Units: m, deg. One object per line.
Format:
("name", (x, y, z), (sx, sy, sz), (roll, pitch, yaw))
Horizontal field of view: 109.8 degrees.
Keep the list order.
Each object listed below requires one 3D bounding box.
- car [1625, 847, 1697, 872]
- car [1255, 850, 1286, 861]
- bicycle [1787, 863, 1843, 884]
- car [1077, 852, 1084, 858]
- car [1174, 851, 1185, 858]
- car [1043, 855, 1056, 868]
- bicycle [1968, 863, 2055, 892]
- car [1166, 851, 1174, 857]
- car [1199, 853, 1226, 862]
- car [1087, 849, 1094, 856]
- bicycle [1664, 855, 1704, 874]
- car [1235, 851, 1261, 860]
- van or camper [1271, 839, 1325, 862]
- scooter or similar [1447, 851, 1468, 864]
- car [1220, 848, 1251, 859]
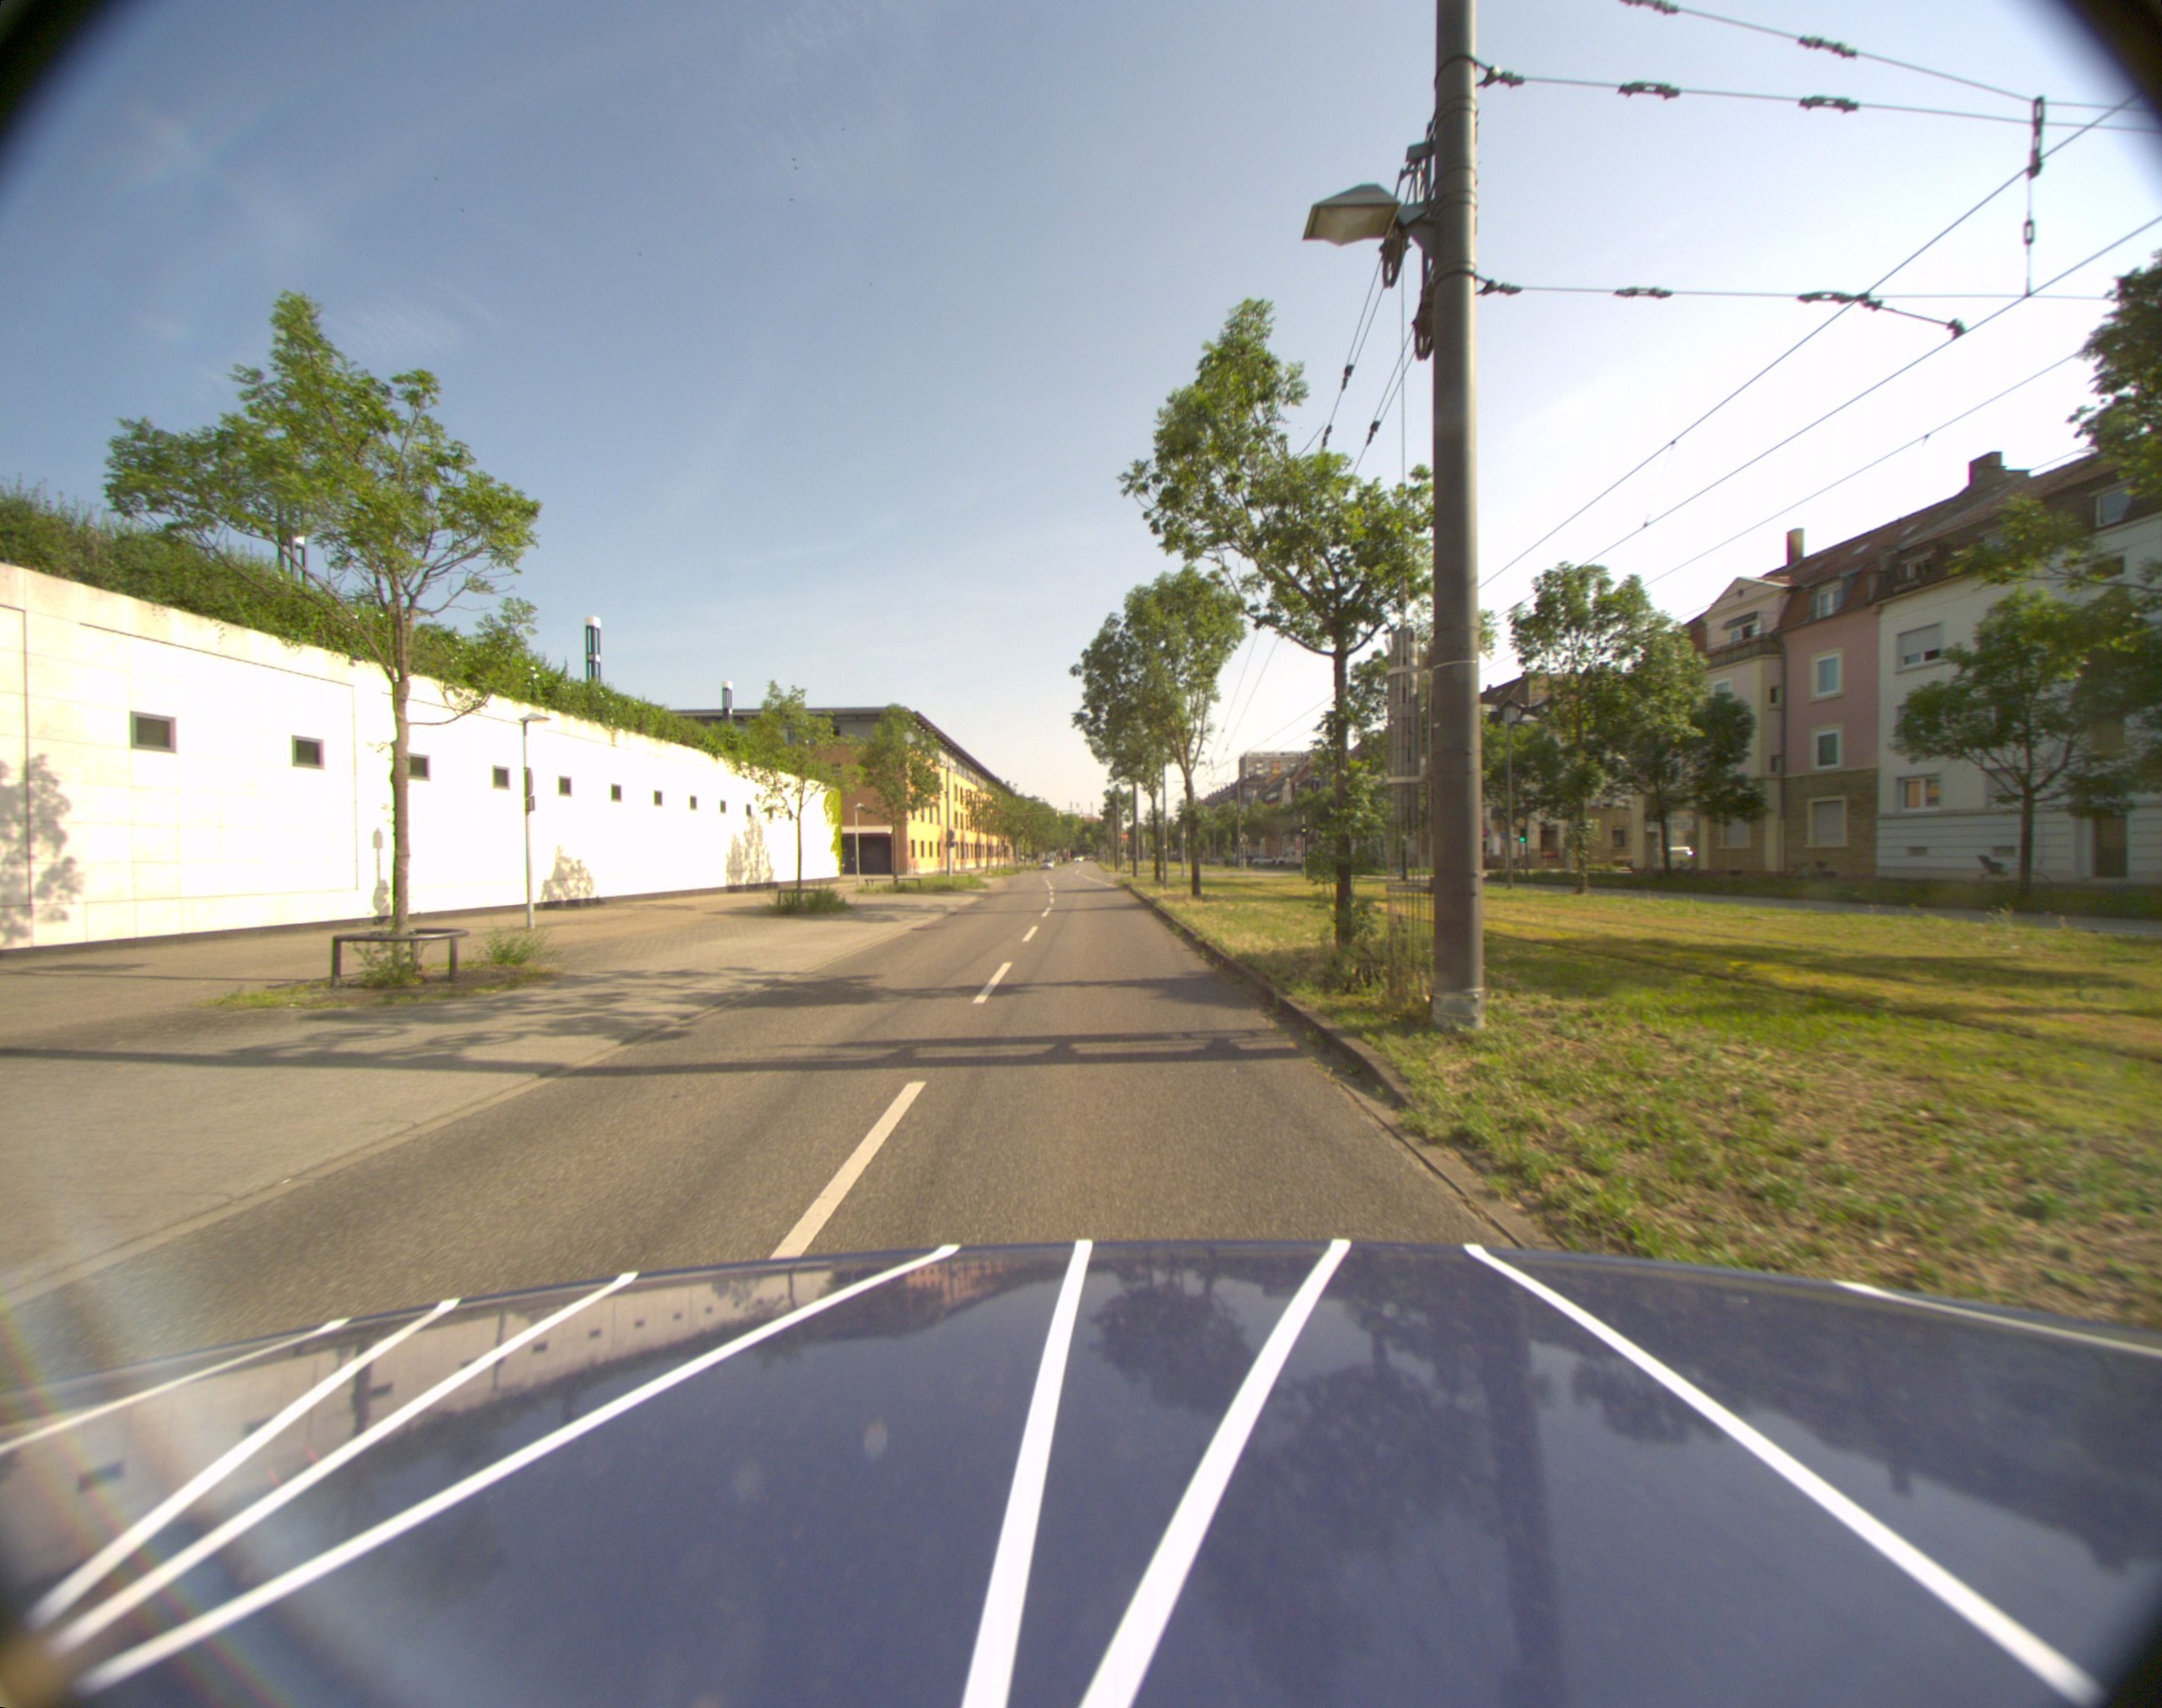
("car", (43.608, 0.386, 57.150), (3.997, 1.611, 1.833), (-3, 1, -1))
("car", (27.042, 0.247, 108.537), (4.004, 1.309, 1.665), (-2, 1, 35))
("bicycle", (30.840, 0.827, 31.969), (0.438, 0.784, 1.947), (-3, 1, -1))
("car", (-0.064, 0.345, 197.227), (1.693, 1.476, 3.365), (-3, 1, -1))
("car", (21.724, 0.114, 167.697), (1.817, 1.425, 3.925), (-3, 1, 0))
("car", (-4.186, 0.985, 101.093), (1.629, 1.476, 3.365), (-3, 1, -1))
("bicycle", (30.641, 0.767, 25.058), (0.448, 0.852, 1.947), (-3, 1, -1))
("car", (25.966, 0.067, 221.857), (1.952, 1.451, 4.648), (-3, 1, 3))
("car", (25.642, 0.660, 148.344), (4.765, 1.477, 2.026), (-2, 1, 33))
("car", (2.881, -0.392, 231.148), (1.998, 2.002, 4.000), (-3, 1, 2))
("bicycle", (30.956, 0.519, 39.038), (0.469, 0.884, 1.947), (-3, 1, -1))
("car", (26.726, 0.184, 121.840), (3.677, 1.234, 1.665), (-2, 1, 35))
("van or camper", (27.185, -0.473, 95.295), (5.910, 2.559, 2.203), (-2, 1, 35))
("scooter or similar", (31.533, 0.293, 63.646), (0.743, 1.062, 1.486), (-3, 1, -21))
("car", (27.457, -0.088, 135.038), (4.939, 1.716, 1.860), (-2, 1, 35))
